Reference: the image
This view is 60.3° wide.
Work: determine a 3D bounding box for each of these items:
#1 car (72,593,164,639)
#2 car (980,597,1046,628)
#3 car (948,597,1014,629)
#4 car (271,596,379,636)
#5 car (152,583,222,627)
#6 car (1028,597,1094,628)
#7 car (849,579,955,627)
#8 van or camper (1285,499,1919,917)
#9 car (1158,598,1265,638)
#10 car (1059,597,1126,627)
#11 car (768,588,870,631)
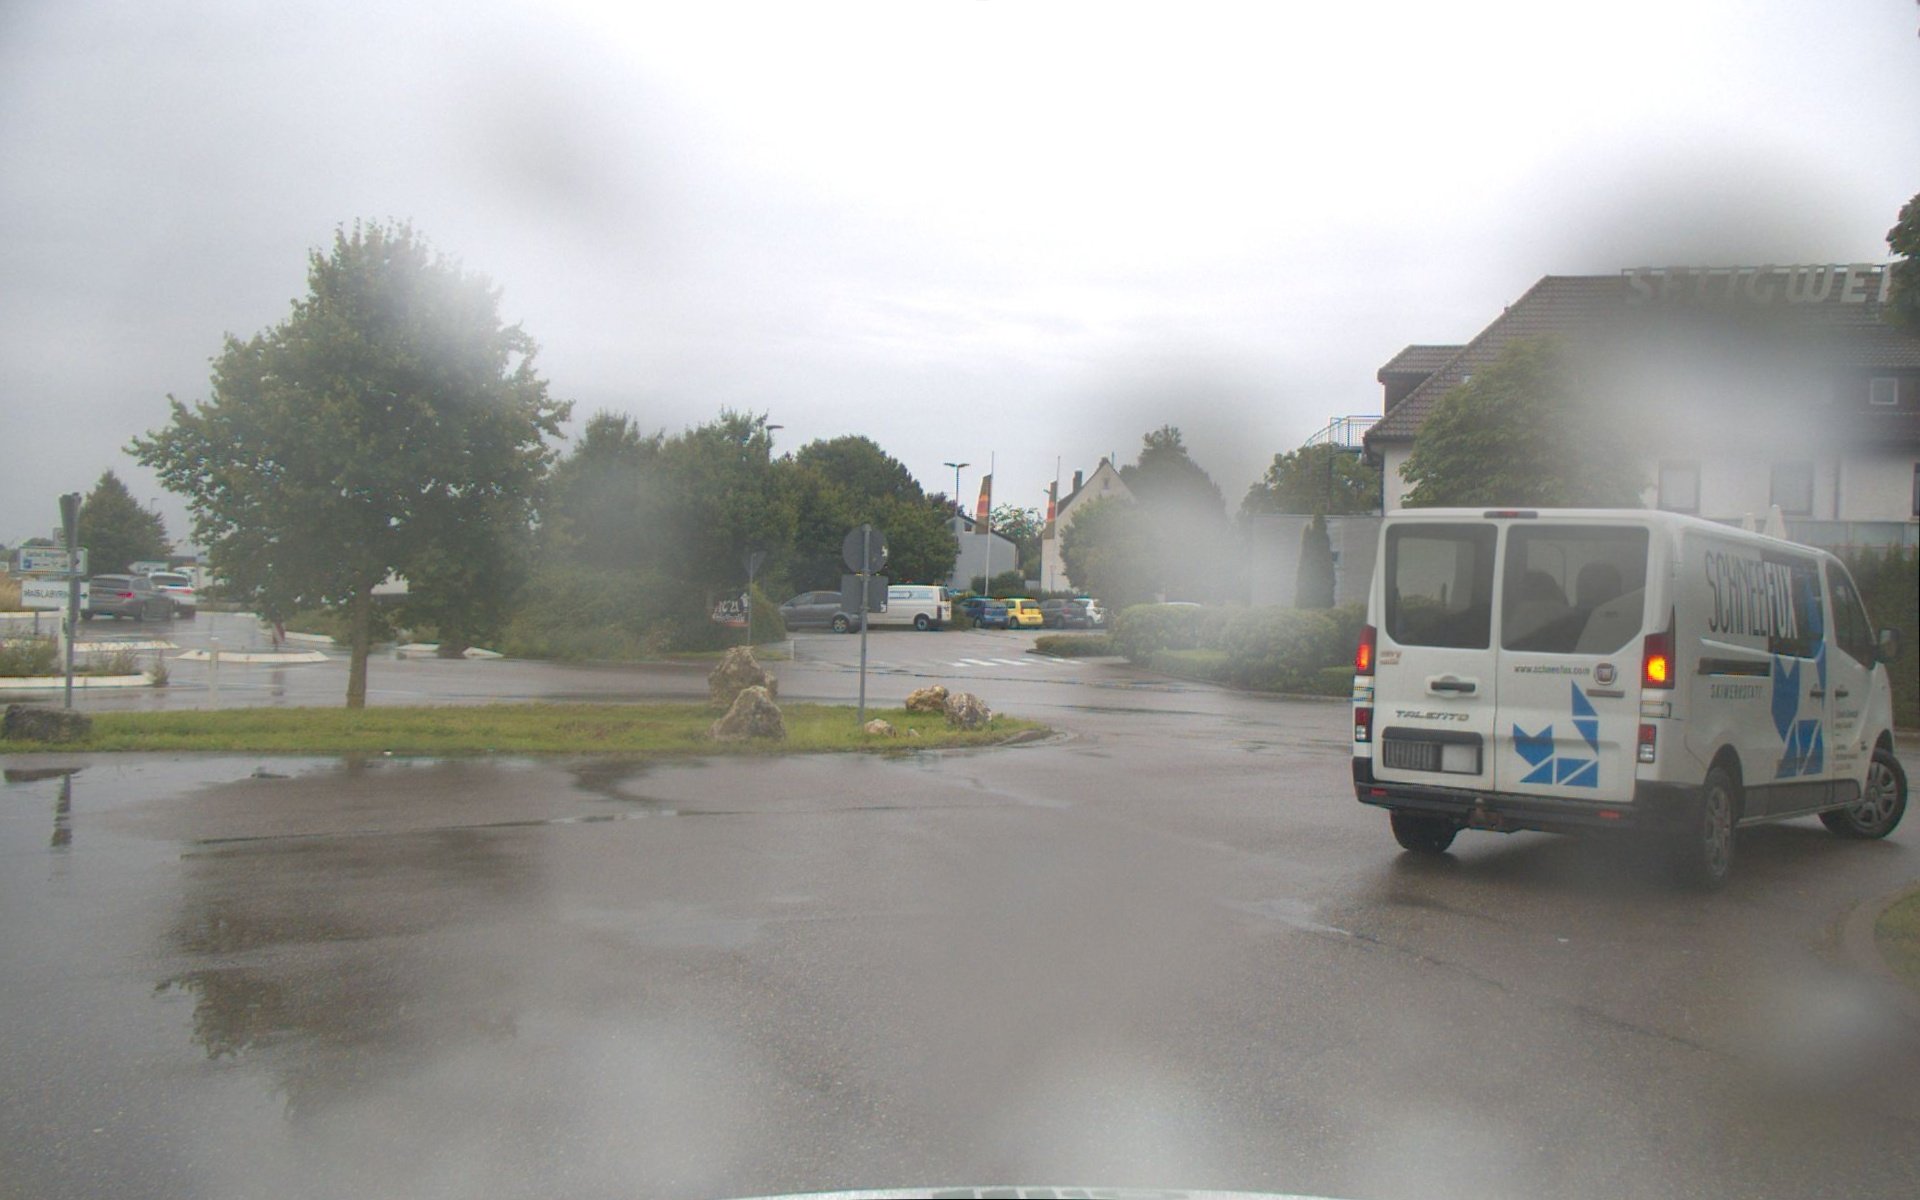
[{"bbox_3d":[-26.729,0.487,52.628,1.659,1.349,4.030,1,0,-13],"label":"car"},{"bbox_3d":[2.623,0.605,82.298,1.565,1.483,3.641,0,0,-31],"label":"car"},{"bbox_3d":[1.005,0.607,80.211,1.535,1.483,3.641,0,0,-31],"label":"car"},{"bbox_3d":[-29.261,0.760,76.290,1.720,1.789,4.334,0,-1,45],"label":"car"},{"bbox_3d":[-28.936,0.162,62.010,1.661,1.612,4.367,1,0,-16],"label":"car"},{"bbox_3d":[5.074,0.606,83.348,1.565,1.483,3.641,0,0,-31],"label":"car"},{"bbox_3d":[-2.567,0.120,73.388,4.424,2.069,1.646,1,0,15],"label":"car"},{"bbox_3d":[4.347,0.525,10.494,2.156,1.979,5.167,2,0,41],"label":"van or camper"},{"bbox_3d":[10.034,0.696,65.885,4.086,1.524,1.719,0,0,14],"label":"car"},{"bbox_3d":[6.748,0.606,84.454,1.565,1.483,3.641,0,0,-31],"label":"car"},{"bbox_3d":[-5.433,0.361,63.828,3.652,1.578,1.452,1,0,14],"label":"car"}]
